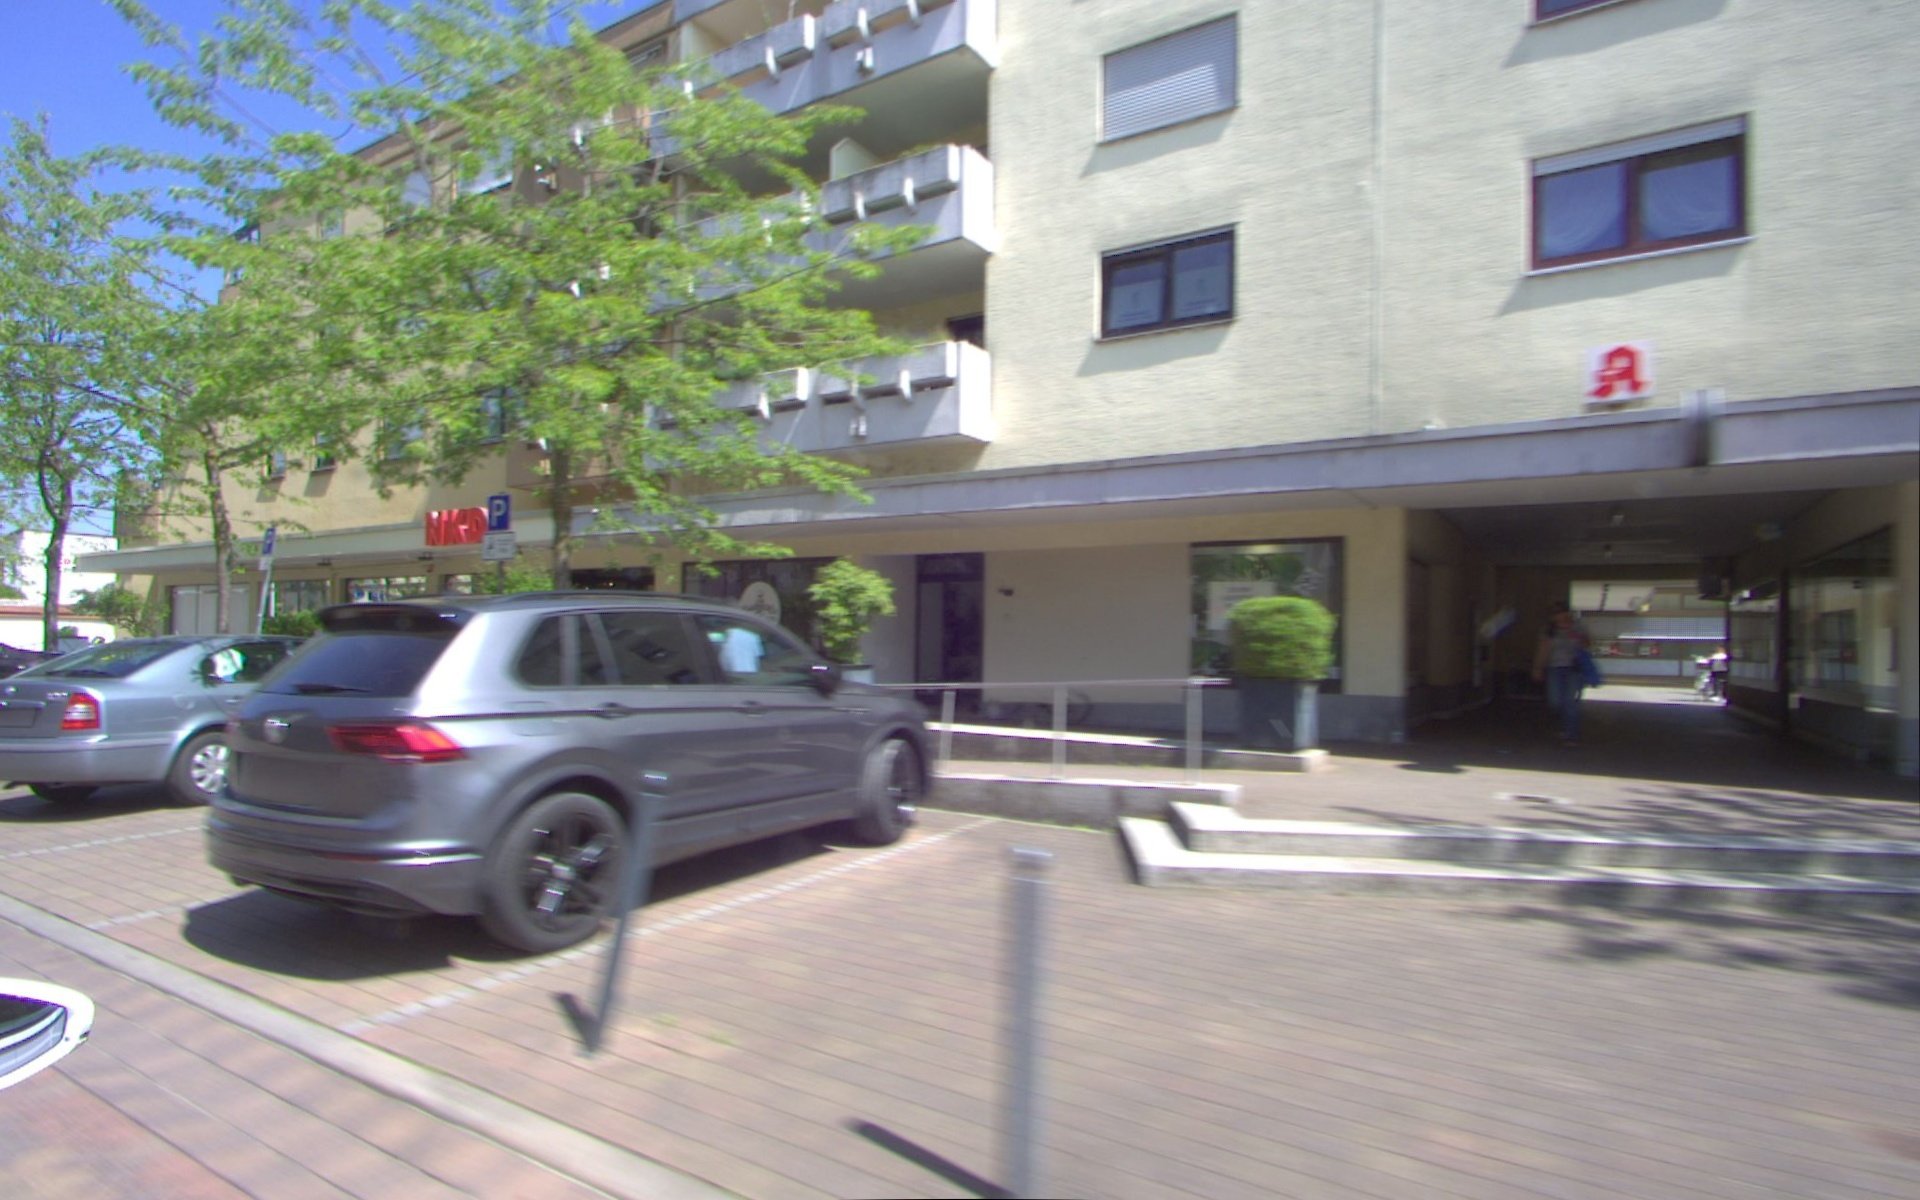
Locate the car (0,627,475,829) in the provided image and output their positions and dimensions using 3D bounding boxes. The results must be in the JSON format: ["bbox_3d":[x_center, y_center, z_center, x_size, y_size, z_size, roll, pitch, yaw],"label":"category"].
[{"bbox_3d":[-6.955,1.013,9.740,1.854,1.482,4.387,0,-1,9],"label":"car"}]

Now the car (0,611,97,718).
[{"bbox_3d":[-15.835,0.995,15.082,1.657,1.633,4.017,0,0,33],"label":"car"}]

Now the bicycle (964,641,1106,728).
[{"bbox_3d":[1.003,1.120,13.620,1.839,1.095,0.640,-1,-3,32],"label":"bicycle"}]

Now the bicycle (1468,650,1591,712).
[{"bbox_3d":[11.433,1.604,20.129,2.110,1.155,0.653,0,-2,34],"label":"bicycle"}]

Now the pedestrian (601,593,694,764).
[{"bbox_3d":[-3.420,0.837,10.982,0.676,1.796,0.630,1,-1,25],"label":"pedestrian"}]

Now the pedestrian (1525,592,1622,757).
[{"bbox_3d":[7.079,0.832,11.545,0.860,1.804,0.754,0,-1,39],"label":"pedestrian"}]

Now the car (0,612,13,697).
[{"bbox_3d":[-19.980,0.998,17.666,1.825,1.609,4.496,0,-1,34],"label":"car"}]

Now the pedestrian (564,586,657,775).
[{"bbox_3d":[-3.481,0.786,10.011,0.594,1.819,0.627,1,-1,11],"label":"pedestrian"}]

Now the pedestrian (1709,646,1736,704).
[{"bbox_3d":[19.099,1.873,25.089,0.470,1.444,0.413,0,-1,28],"label":"pedestrian"}]

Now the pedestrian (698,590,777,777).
[{"bbox_3d":[-2.188,0.810,9.817,0.606,1.752,0.646,2,-2,-24],"label":"pedestrian"}]

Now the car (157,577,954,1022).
[{"bbox_3d":[-1.862,0.788,5.972,1.730,1.639,4.238,0,-1,31],"label":"car"}]

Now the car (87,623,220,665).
[{"bbox_3d":[-30.522,1.662,37.983,1.631,1.470,3.609,1,-1,32],"label":"car"}]
